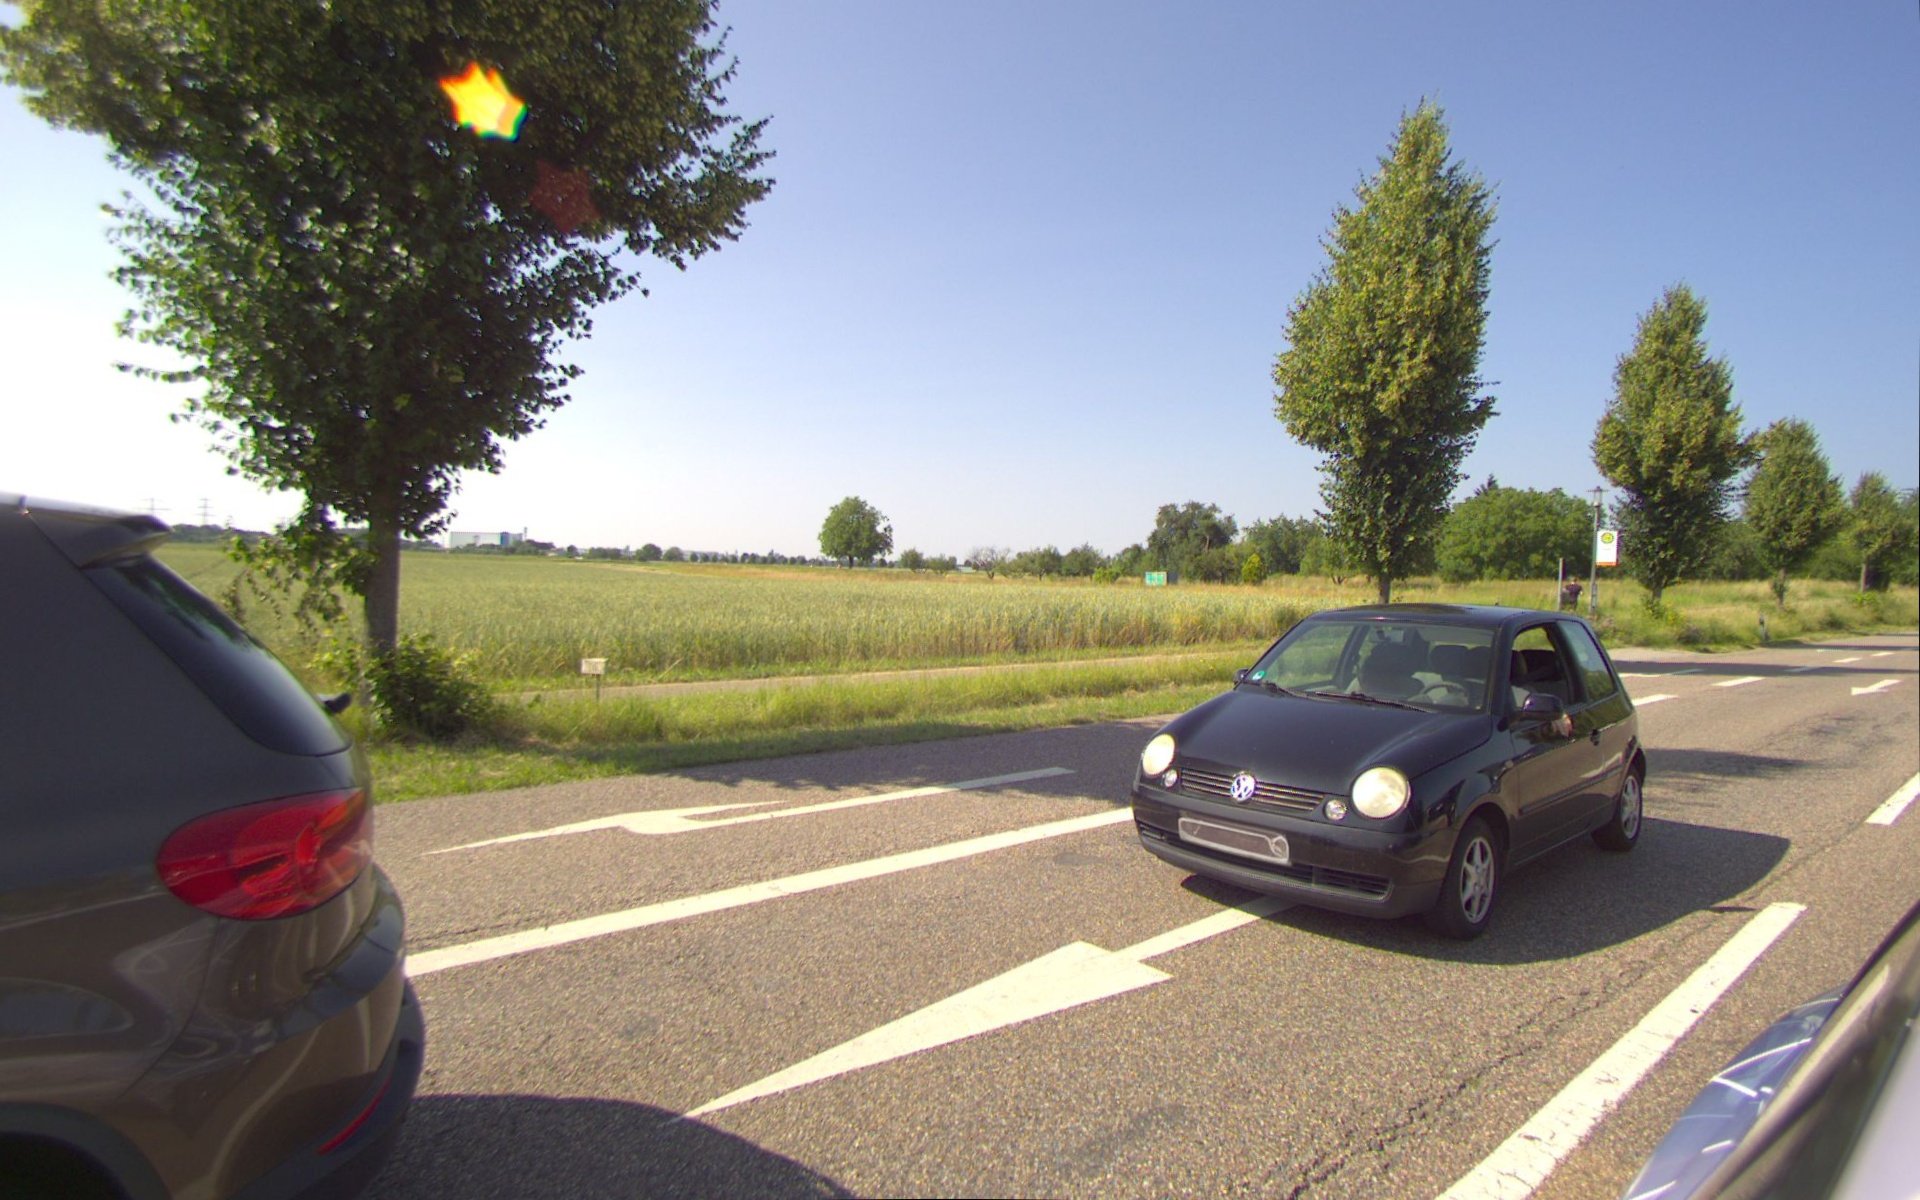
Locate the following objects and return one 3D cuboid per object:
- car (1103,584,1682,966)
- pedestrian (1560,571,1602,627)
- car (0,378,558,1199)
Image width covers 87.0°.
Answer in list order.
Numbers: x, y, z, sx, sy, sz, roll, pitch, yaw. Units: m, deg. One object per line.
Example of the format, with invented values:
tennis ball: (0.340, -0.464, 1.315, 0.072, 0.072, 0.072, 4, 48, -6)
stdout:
car: (2.578, 0.654, 5.650, 3.560, 1.451, 1.628, 0, 1, -42)
pedestrian: (21.243, -0.033, 34.609, 1.174, 1.862, 0.903, 0, 2, -43)
car: (-2.798, 0.553, 1.077, 4.075, 1.676, 1.758, 0, 0, -42)
